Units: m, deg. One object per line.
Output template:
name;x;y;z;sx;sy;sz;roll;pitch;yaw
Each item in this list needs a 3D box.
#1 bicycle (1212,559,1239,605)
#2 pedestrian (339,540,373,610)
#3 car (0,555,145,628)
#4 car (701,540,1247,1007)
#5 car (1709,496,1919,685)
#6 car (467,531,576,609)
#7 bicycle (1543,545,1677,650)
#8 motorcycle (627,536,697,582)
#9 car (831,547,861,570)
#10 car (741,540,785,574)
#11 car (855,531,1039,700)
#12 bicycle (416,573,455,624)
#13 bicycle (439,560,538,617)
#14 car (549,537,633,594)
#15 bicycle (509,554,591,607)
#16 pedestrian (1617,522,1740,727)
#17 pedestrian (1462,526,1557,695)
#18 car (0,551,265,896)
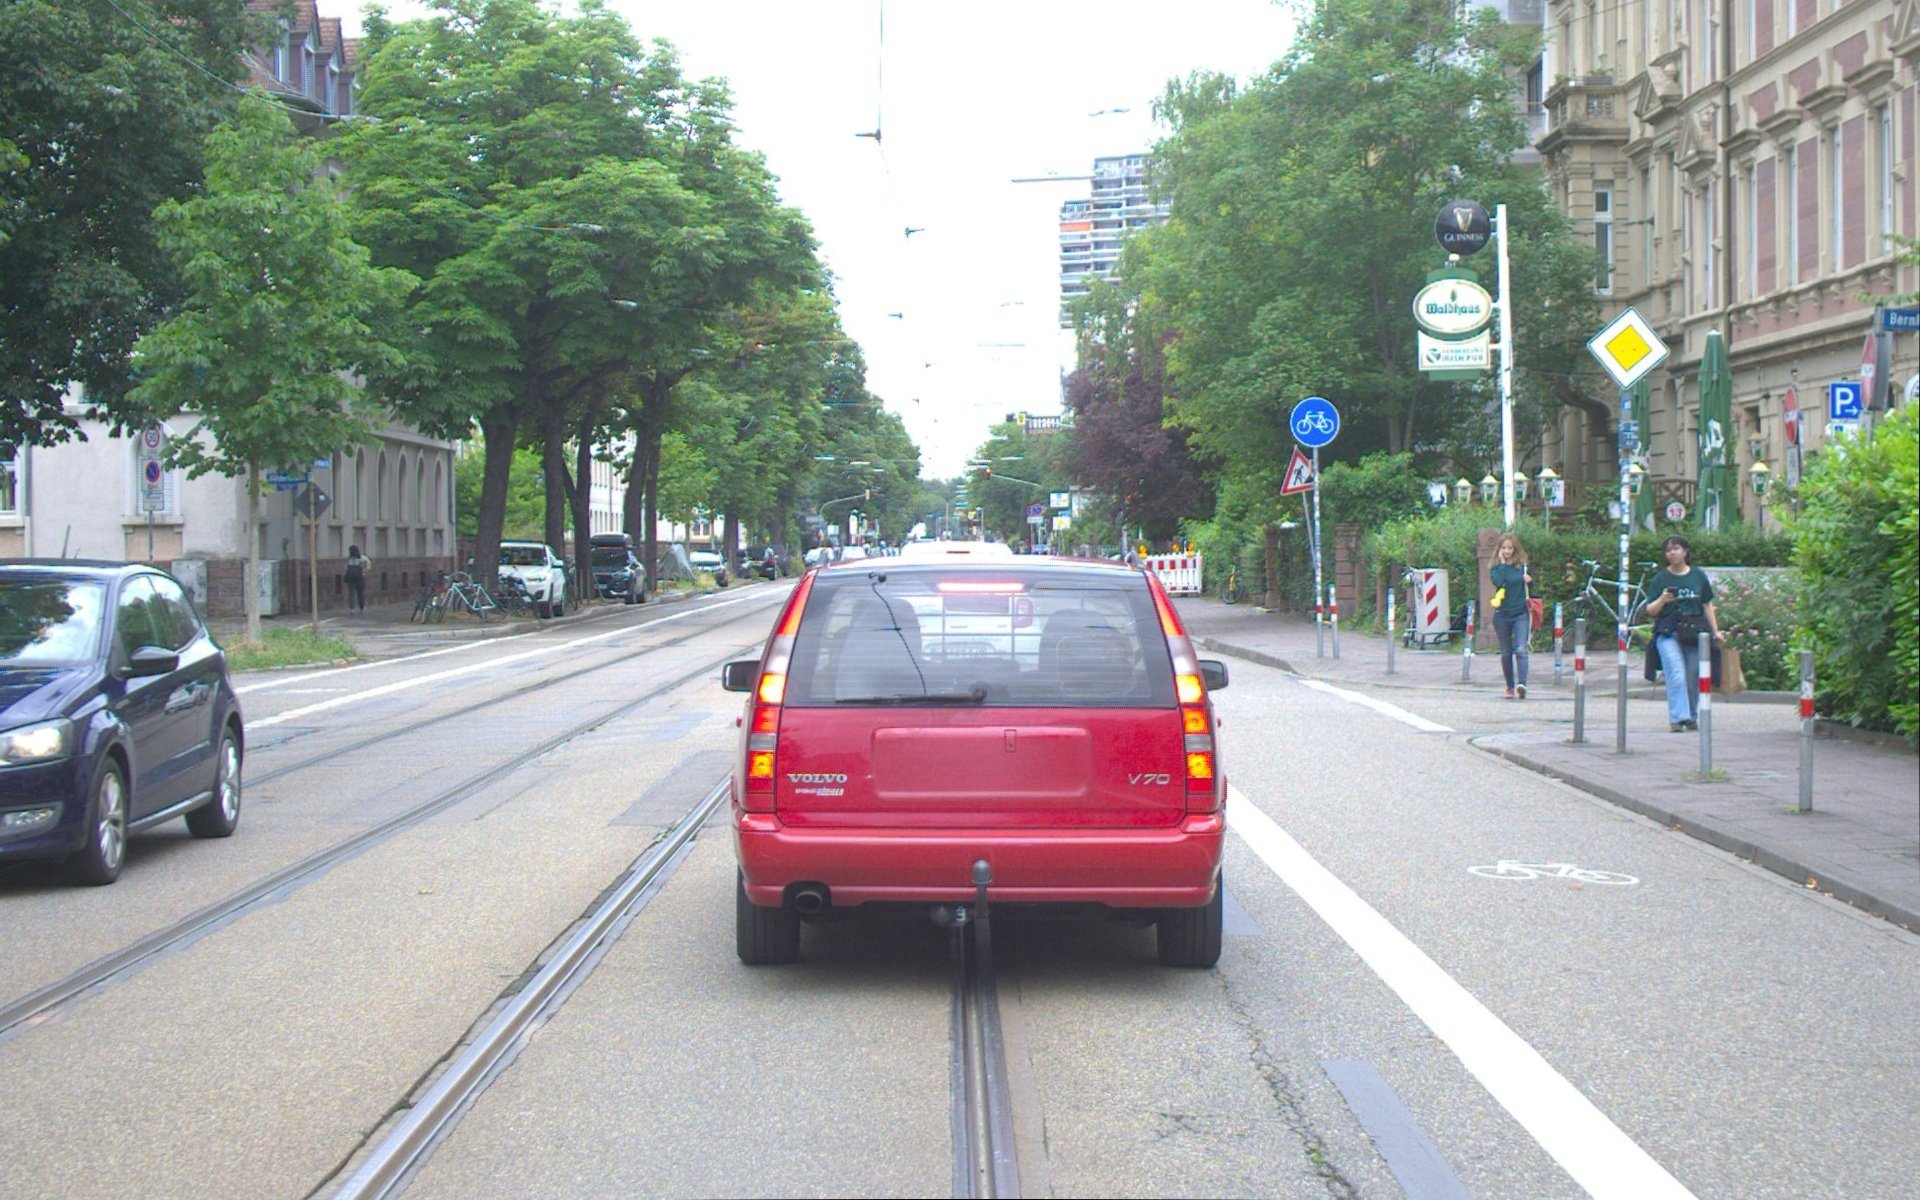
bicycle;6.070;-0.425;78.621;0.479;1.041;1.531;0;1;0
pedestrian;-12.737;-0.522;72.490;0.564;1.462;0.723;0;1;0
car;-16.974;-0.157;62.793;3.753;1.302;1.739;0;1;23
car;0.036;0.510;12.624;1.689;1.436;3.743;1;1;0
car;9.154;-0.144;36.627;2.053;1.871;5.026;0;1;15
car;-9.495;-0.661;74.721;1.897;1.650;4.226;0;1;-1
bicycle;7.940;-0.032;41.986;1.605;1.273;0.513;0;1;12
motorcycle;-10.055;-1.367;115.810;2.269;1.506;0.925;0;-1;35
car;-7.016;-2.553;211.901;1.755;1.375;4.027;0;1;-1
car;-9.200;-2.015;160.750;1.851;1.558;3.943;0;1;0
car;-0.079;0.119;34.873;1.719;1.619;3.941;0;1;2
bicycle;-9.955;-0.034;65.266;0.483;0.955;1.397;0;1;2
bicycle;-9.702;-0.232;70.755;1.922;1.117;0.624;1;1;0
car;-10.025;-0.942;93.615;1.777;1.505;4.237;1;1;1
bicycle;-9.554;-0.453;80.096;1.744;1.188;0.652;2;1;14
pedestrian;5.865;0.194;28.090;0.793;1.630;0.836;-2;0;0
pedestrian;5.431;0.094;33.923;0.873;1.650;0.908;0;1;12
car;-4.456;0.485;15.962;1.729;1.404;3.655;0;1;0
